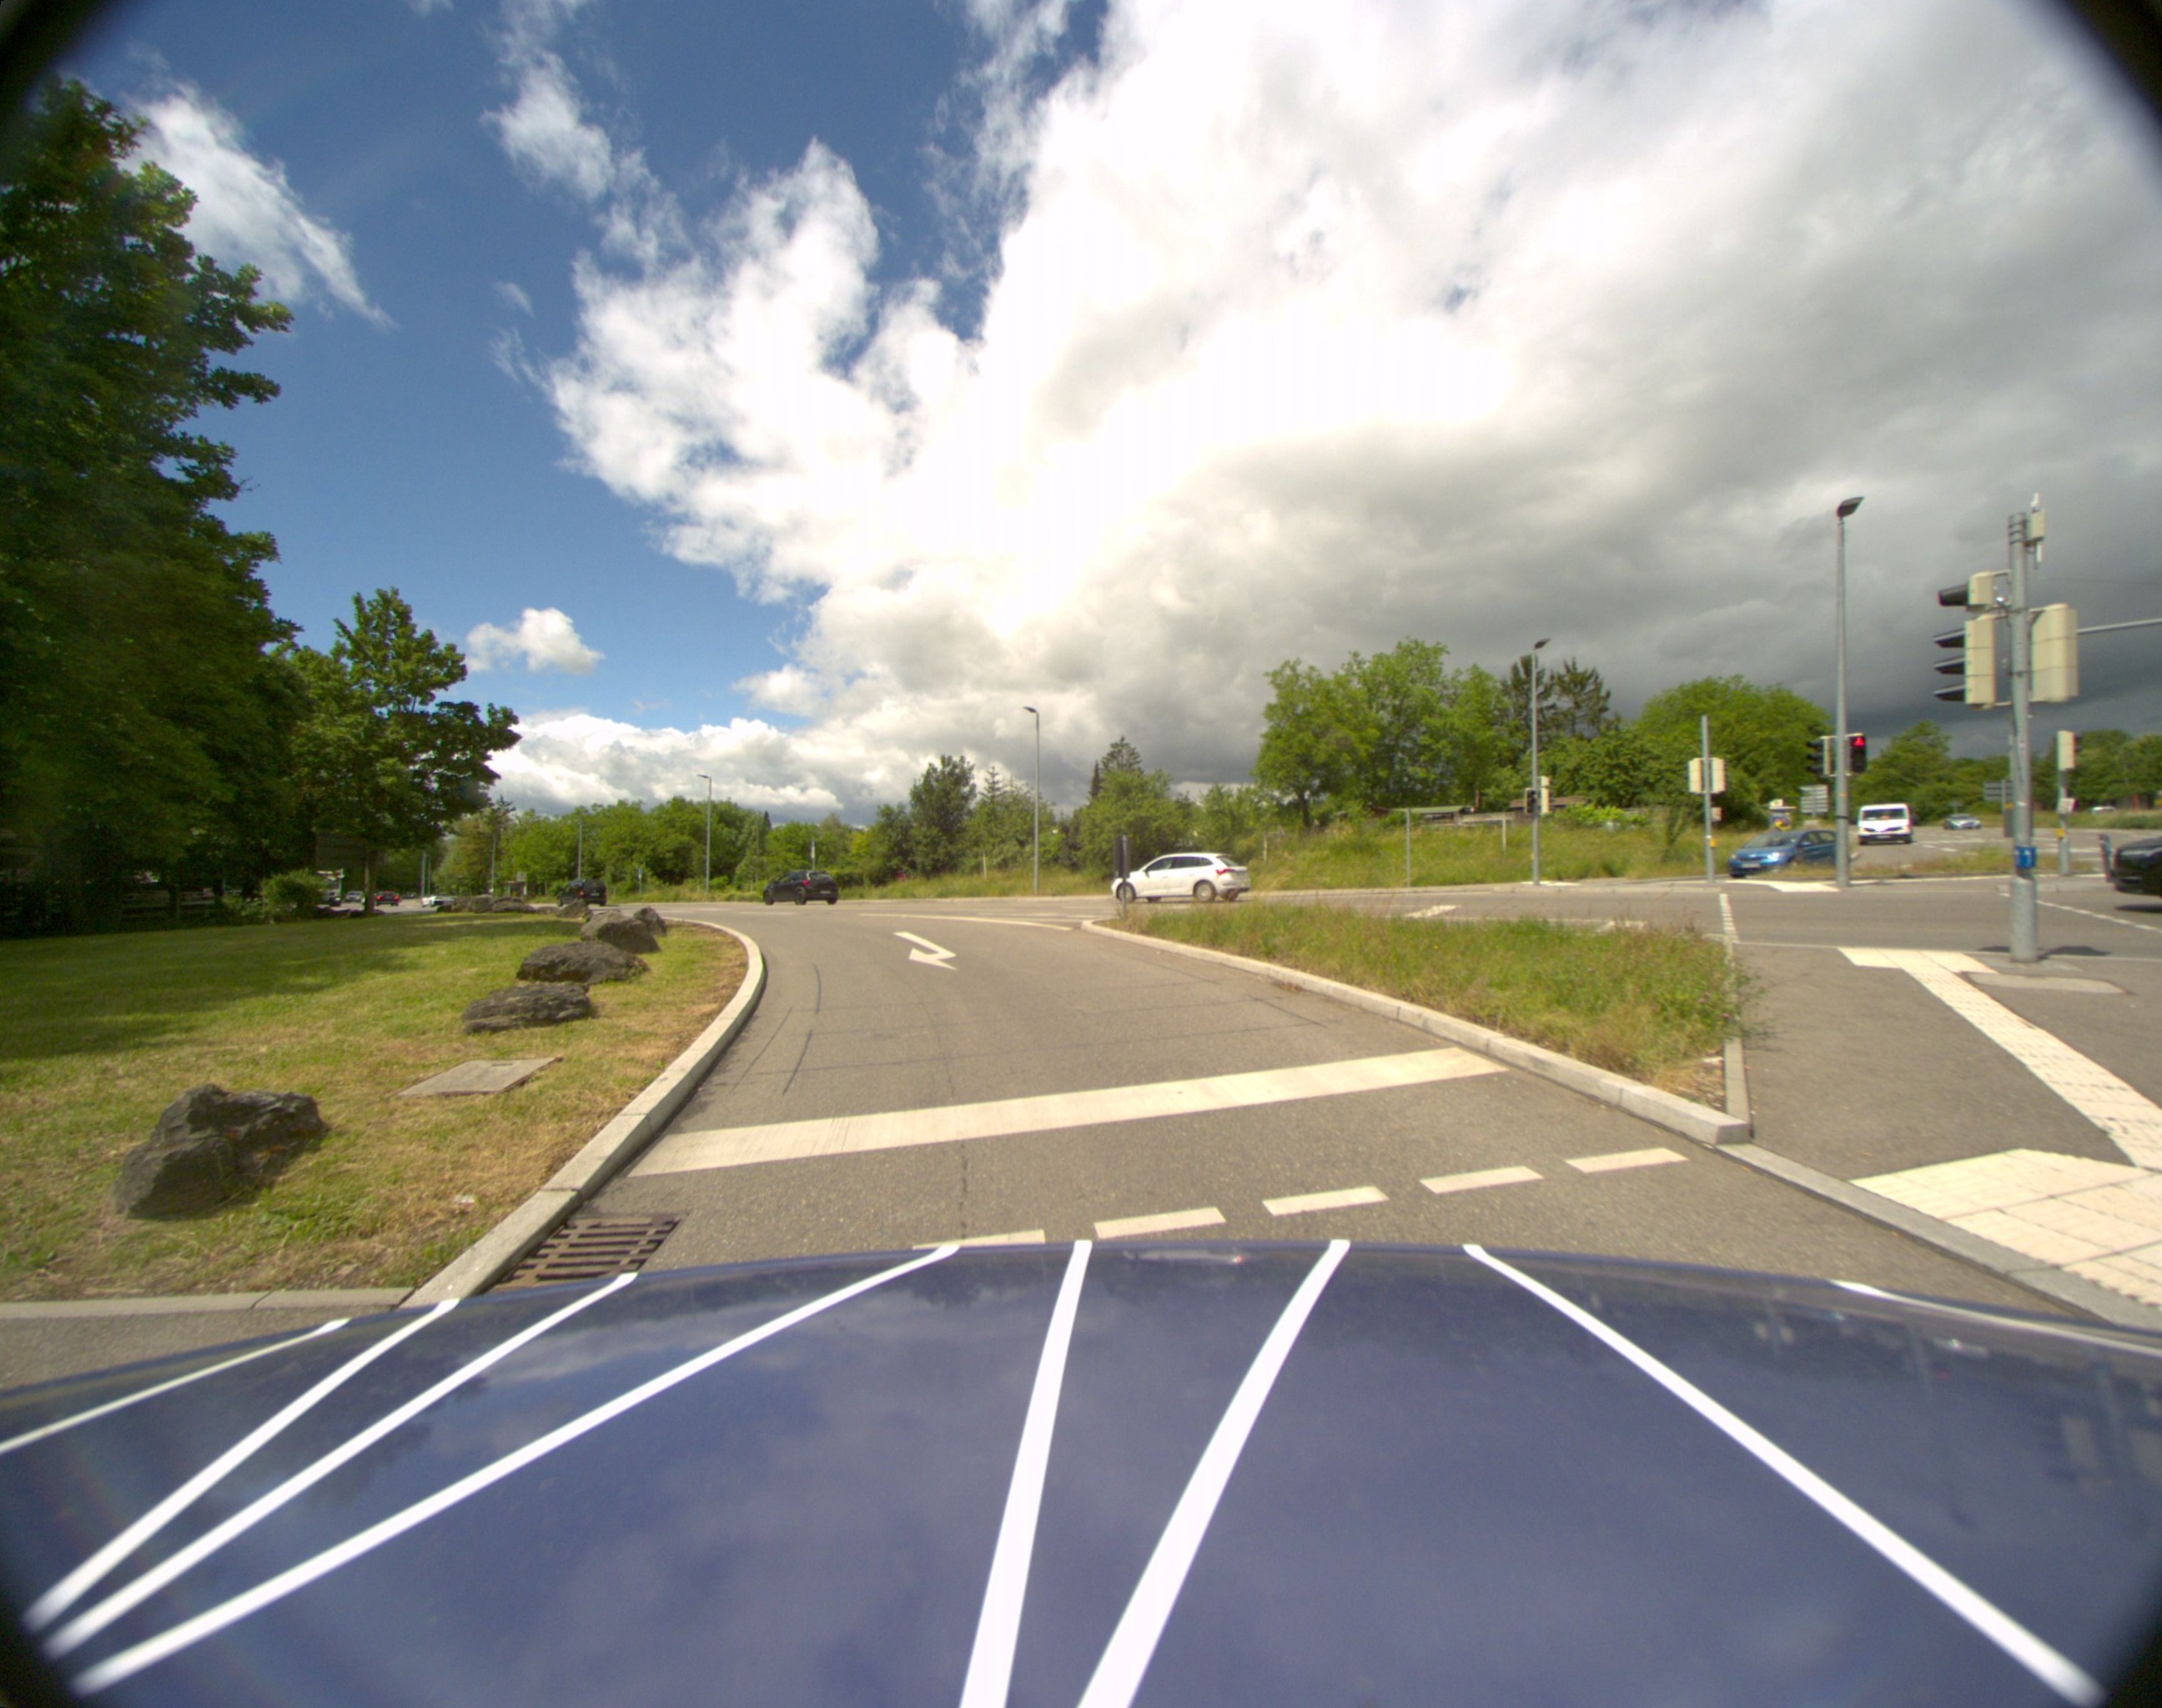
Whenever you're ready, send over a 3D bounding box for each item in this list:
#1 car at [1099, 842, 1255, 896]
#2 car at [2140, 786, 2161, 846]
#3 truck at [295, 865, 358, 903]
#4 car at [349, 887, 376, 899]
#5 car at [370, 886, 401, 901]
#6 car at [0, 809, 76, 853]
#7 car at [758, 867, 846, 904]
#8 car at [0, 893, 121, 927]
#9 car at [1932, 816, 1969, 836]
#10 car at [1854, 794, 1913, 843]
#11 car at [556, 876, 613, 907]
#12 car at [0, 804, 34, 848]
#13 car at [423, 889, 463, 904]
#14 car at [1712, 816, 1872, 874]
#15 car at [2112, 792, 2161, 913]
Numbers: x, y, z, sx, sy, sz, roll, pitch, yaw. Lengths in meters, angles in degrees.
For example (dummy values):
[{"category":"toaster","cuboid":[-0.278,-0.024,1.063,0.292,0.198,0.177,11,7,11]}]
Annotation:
[{"category":"car","cuboid":[2.827,0.470,22.846,4.366,1.461,1.625,-2,1,37]},{"category":"car","cuboid":[34.527,-1.202,22.838,1.905,1.926,4.980,-2,1,39]},{"category":"truck","cuboid":[-81.369,3.201,81.836,9.845,3.836,3.252,-1,-3,37]},{"category":"car","cuboid":[-90.974,4.967,96.192,3.889,1.433,1.776,-2,-3,37]},{"category":"car","cuboid":[-78.533,4.490,85.748,4.520,1.643,1.831,-3,-3,38]},{"category":"car","cuboid":[-44.026,-0.931,30.716,3.709,1.609,1.656,0,-4,-27]},{"category":"car","cuboid":[-12.658,1.405,34.427,4.153,1.568,1.795,-2,-1,38]},{"category":"car","cuboid":[-46.405,2.491,34.017,3.863,1.383,1.692,0,-2,-28]},{"category":"car","cuboid":[83.203,-2.639,72.772,1.994,1.565,4.010,-1,-4,44]},{"category":"car","cuboid":[47.076,-2.048,44.517,5.836,2.635,2.159,-2,0,-42]},{"category":"car","cuboid":[-33.353,2.533,50.975,4.799,1.767,1.795,-6,-4,39]},{"category":"car","cuboid":[-42.639,-1.063,28.394,3.709,1.552,1.656,0,-4,-27]},{"category":"car","cuboid":[-58.442,3.883,69.620,4.596,1.283,1.915,-2,-3,39]},{"category":"car","cuboid":[22.829,-0.302,24.409,4.452,1.627,1.907,-3,1,-20]},{"category":"car","cuboid":[16.789,-0.093,9.189,1.913,1.680,4.970,-3,1,-31]}]
